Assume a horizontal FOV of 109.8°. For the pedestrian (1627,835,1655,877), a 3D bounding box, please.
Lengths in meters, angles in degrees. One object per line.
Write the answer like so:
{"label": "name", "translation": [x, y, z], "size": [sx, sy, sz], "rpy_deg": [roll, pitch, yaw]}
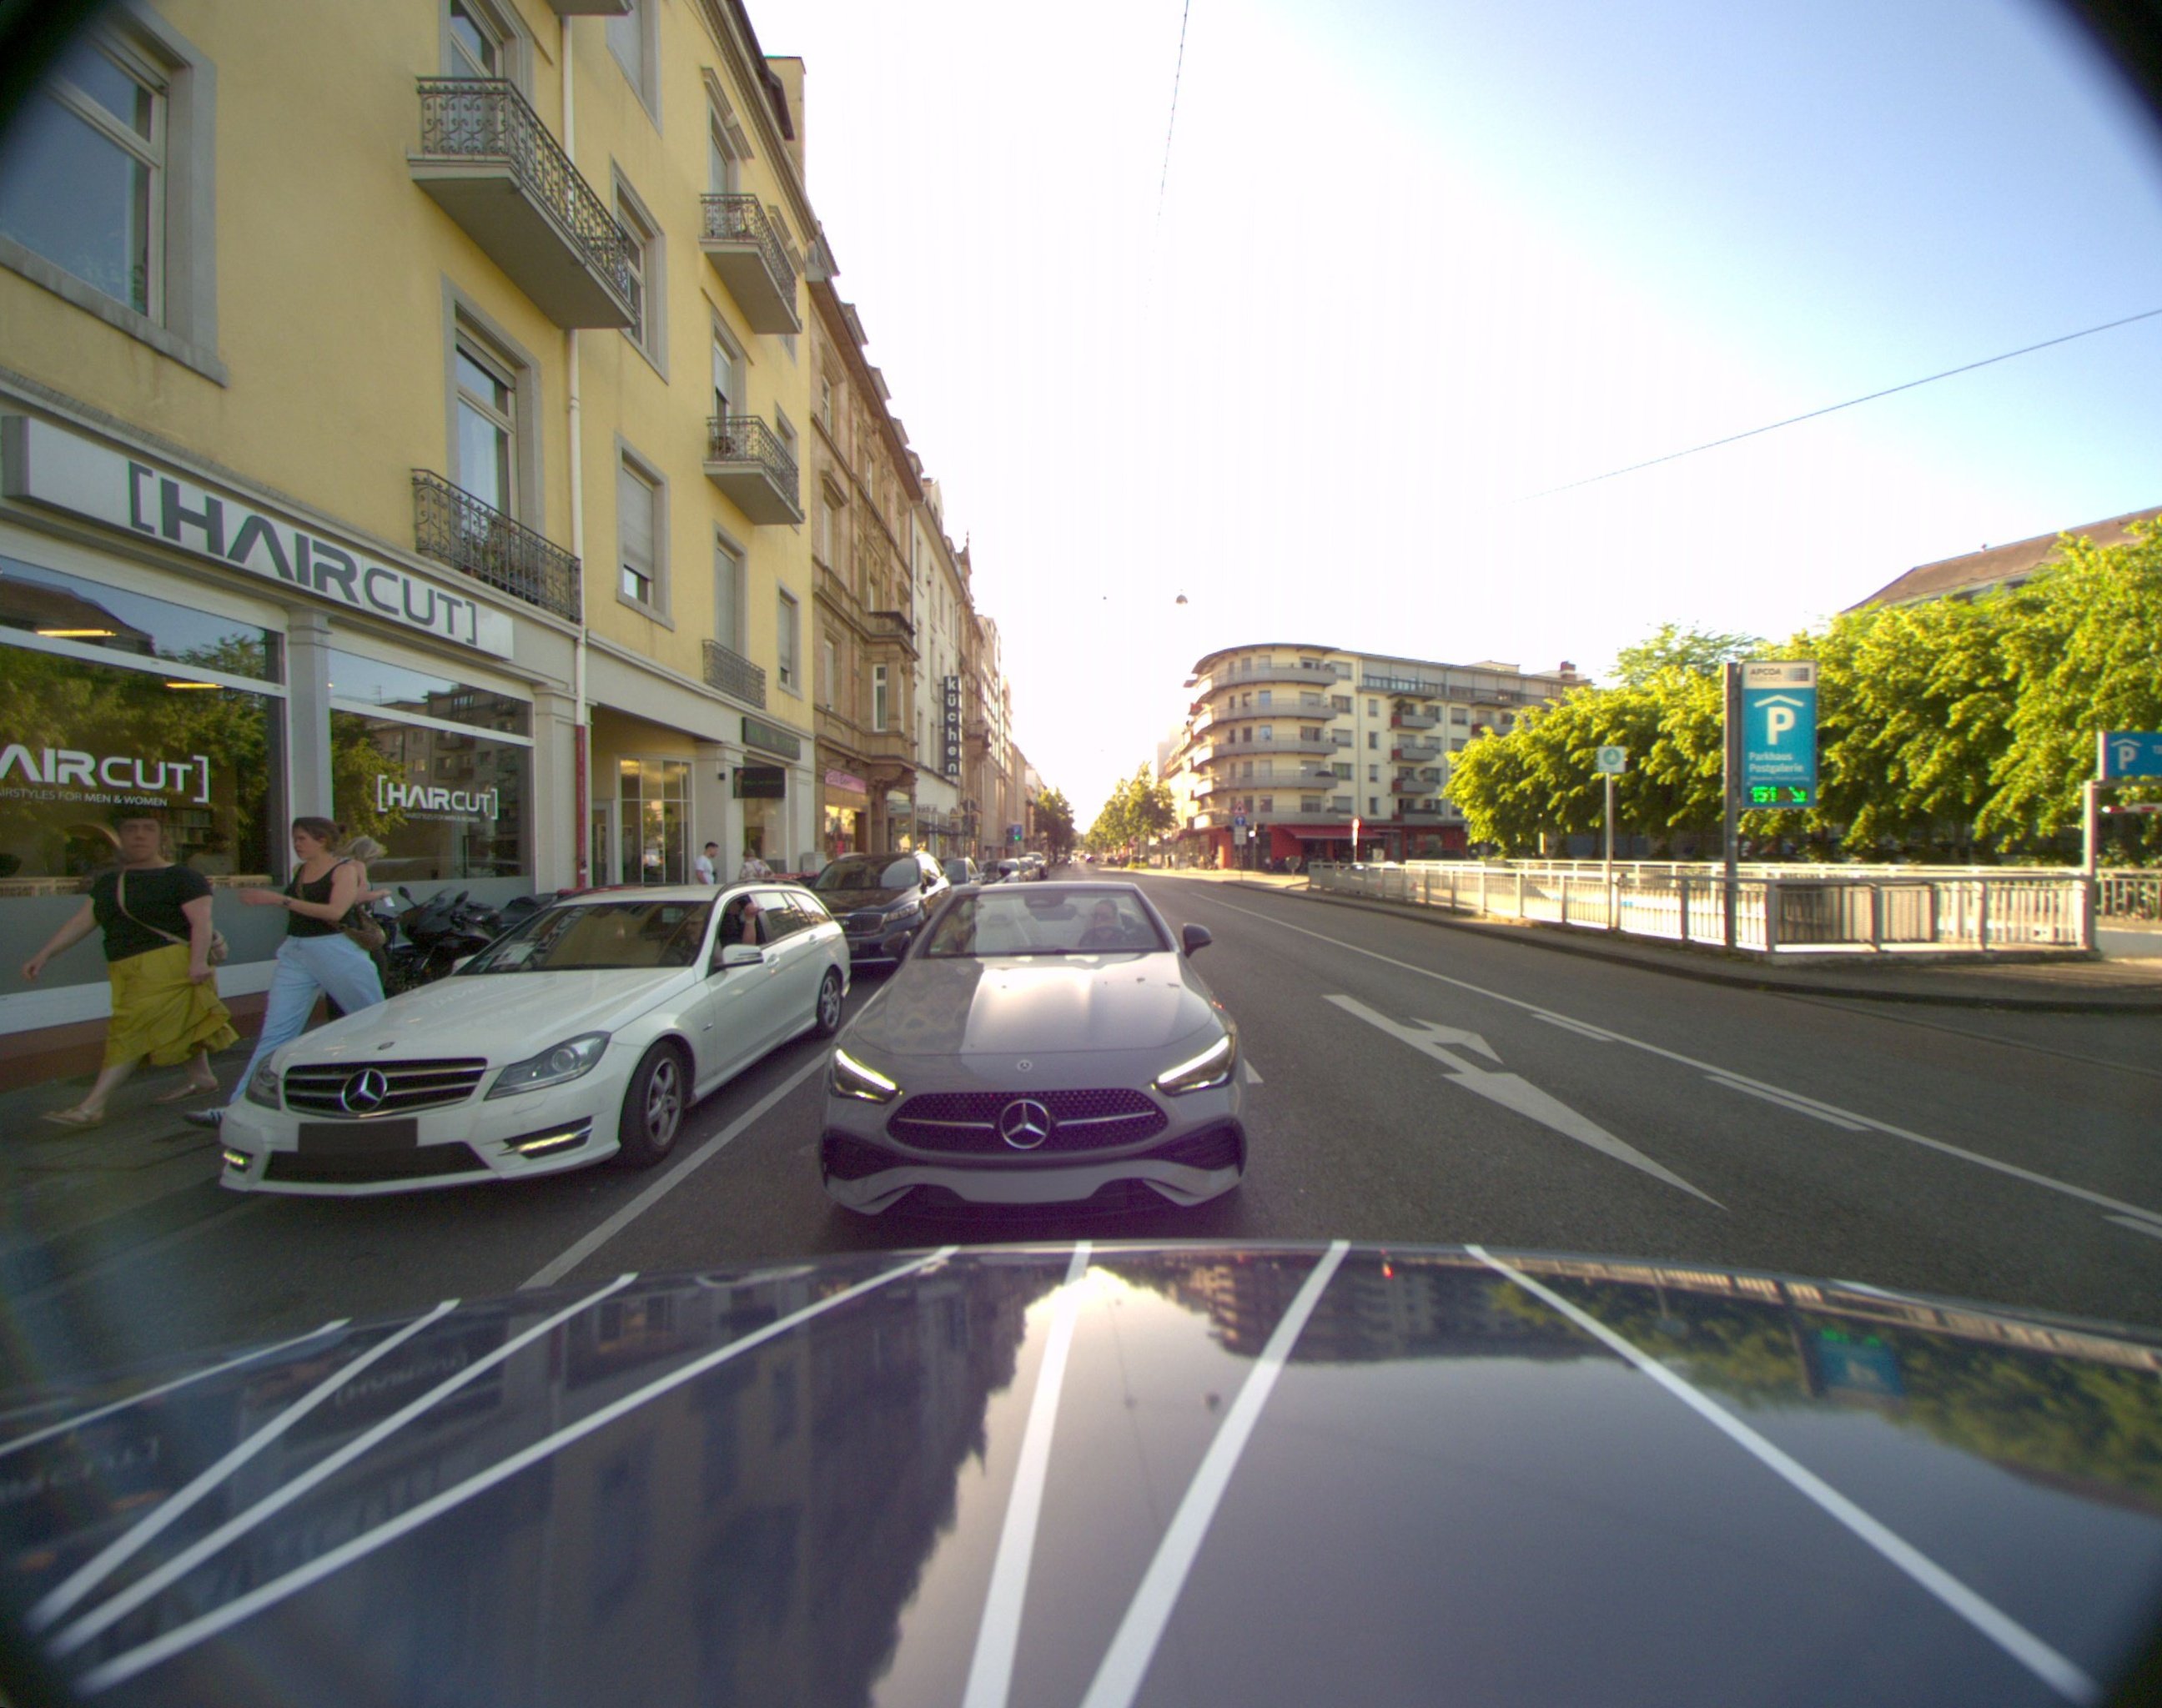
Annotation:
{"label": "pedestrian", "translation": [22.888, 0.078, 31.055], "size": [0.647, 1.711, 0.608], "rpy_deg": [-2, 1, -9]}

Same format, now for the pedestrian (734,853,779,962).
{"label": "pedestrian", "translation": [-5.688, 0.909, 13.318], "size": [0.576, 1.840, 0.663], "rpy_deg": [-3, 1, -30]}

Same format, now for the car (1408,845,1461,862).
{"label": "car", "translation": [29.050, -0.063, 62.439], "size": [4.004, 1.294, 1.753], "rpy_deg": [-2, 1, -23]}

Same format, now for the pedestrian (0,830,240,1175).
{"label": "pedestrian", "translation": [-5.468, 0.764, 4.314], "size": [0.744, 1.773, 0.566], "rpy_deg": [-2, 1, -31]}

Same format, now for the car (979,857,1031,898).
{"label": "car", "translation": [-2.999, 0.887, 30.737], "size": [1.660, 1.423, 4.085], "rpy_deg": [-2, 1, -1]}

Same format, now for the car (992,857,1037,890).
{"label": "car", "translation": [-3.107, 0.891, 36.345], "size": [1.802, 1.332, 3.838], "rpy_deg": [-2, 1, -1]}

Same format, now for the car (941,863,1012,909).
{"label": "car", "translation": [-3.422, 1.013, 25.523], "size": [1.802, 1.259, 4.085], "rpy_deg": [-2, 1, -1]}

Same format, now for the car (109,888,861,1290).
{"label": "car", "translation": [-3.077, 1.070, 5.311], "size": [1.704, 1.351, 4.378], "rpy_deg": [-2, 1, 1]}

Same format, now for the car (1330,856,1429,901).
{"label": "car", "translation": [10.405, 0.819, 26.844], "size": [1.823, 1.346, 4.264], "rpy_deg": [1, 1, 1]}

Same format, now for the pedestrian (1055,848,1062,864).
{"label": "pedestrian", "translation": [-2.873, 0.304, 96.131], "size": [0.792, 2.002, 0.889], "rpy_deg": [-1, 1, 1]}

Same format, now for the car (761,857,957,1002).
{"label": "car", "translation": [-3.020, 0.915, 11.302], "size": [1.803, 1.629, 4.243], "rpy_deg": [-2, 1, -3]}

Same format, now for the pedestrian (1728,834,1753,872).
{"label": "pedestrian", "translation": [30.358, -0.034, 34.984], "size": [0.647, 1.711, 0.607], "rpy_deg": [-3, 1, -19]}

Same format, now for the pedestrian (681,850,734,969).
{"label": "pedestrian", "translation": [-6.390, 0.918, 13.004], "size": [0.373, 1.971, 0.695], "rpy_deg": [0, 1, 23]}

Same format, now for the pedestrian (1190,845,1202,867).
{"label": "pedestrian", "translation": [10.289, 0.175, 68.006], "size": [0.860, 2.002, 0.889], "rpy_deg": [-2, 1, 0]}

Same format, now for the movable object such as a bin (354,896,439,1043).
{"label": "movable object such as a bin", "translation": [-6.017, 0.999, 6.695], "size": [0.391, 1.231, 0.394], "rpy_deg": [1, 1, 1]}

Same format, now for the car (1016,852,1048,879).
{"label": "car", "translation": [-3.026, 0.697, 47.433], "size": [1.725, 1.506, 4.004], "rpy_deg": [-2, 1, -1]}

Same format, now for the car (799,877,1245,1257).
{"label": "car", "translation": [-0.217, 0.953, 5.154], "size": [1.802, 1.351, 3.999], "rpy_deg": [-2, 1, 1]}

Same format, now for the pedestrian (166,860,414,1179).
{"label": "pedestrian", "translation": [-4.430, 0.871, 4.307], "size": [0.658, 1.655, 0.647], "rpy_deg": [-2, 1, -1]}

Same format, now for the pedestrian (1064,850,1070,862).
{"label": "pedestrian", "translation": [-2.132, 0.297, 116.252], "size": [0.792, 1.920, 0.952], "rpy_deg": [-1, 1, -1]}

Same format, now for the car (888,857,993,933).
{"label": "car", "translation": [-3.293, 0.908, 18.563], "size": [1.802, 1.518, 4.085], "rpy_deg": [-2, 1, -1]}

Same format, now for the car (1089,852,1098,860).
{"label": "car", "translation": [2.466, 0.356, 149.328], "size": [1.615, 1.534, 3.931], "rpy_deg": [-1, 0, 1]}

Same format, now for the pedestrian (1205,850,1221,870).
{"label": "pedestrian", "translation": [10.659, 0.485, 61.425], "size": [0.863, 1.586, 0.887], "rpy_deg": [-3, 1, -38]}

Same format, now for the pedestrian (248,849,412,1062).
{"label": "pedestrian", "translation": [-6.079, 0.784, 6.188], "size": [0.719, 1.644, 0.606], "rpy_deg": [1, 1, 1]}

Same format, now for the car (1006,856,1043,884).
{"label": "car", "translation": [-3.005, 0.836, 40.874], "size": [1.725, 1.332, 3.668], "rpy_deg": [-2, 1, -1]}

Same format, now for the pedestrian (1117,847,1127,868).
{"label": "pedestrian", "translation": [4.062, 0.335, 74.629], "size": [0.860, 2.002, 0.889], "rpy_deg": [-2, 1, 1]}

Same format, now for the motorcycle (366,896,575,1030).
{"label": "motorcycle", "translation": [-6.214, 1.047, 7.900], "size": [0.567, 1.072, 1.954], "rpy_deg": [2, 1, 1]}

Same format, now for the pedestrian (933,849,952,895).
{"label": "pedestrian", "translation": [-5.548, 0.712, 30.458], "size": [0.574, 1.840, 0.665], "rpy_deg": [-2, 1, 1]}

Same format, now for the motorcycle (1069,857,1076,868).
{"label": "motorcycle", "translation": [-0.965, 0.932, 86.349], "size": [0.720, 1.177, 1.906], "rpy_deg": [-2, 1, 1]}

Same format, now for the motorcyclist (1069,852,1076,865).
{"label": "motorcyclist", "translation": [-0.977, 0.458, 86.364], "size": [0.722, 1.438, 0.705], "rpy_deg": [-2, 1, 1]}
